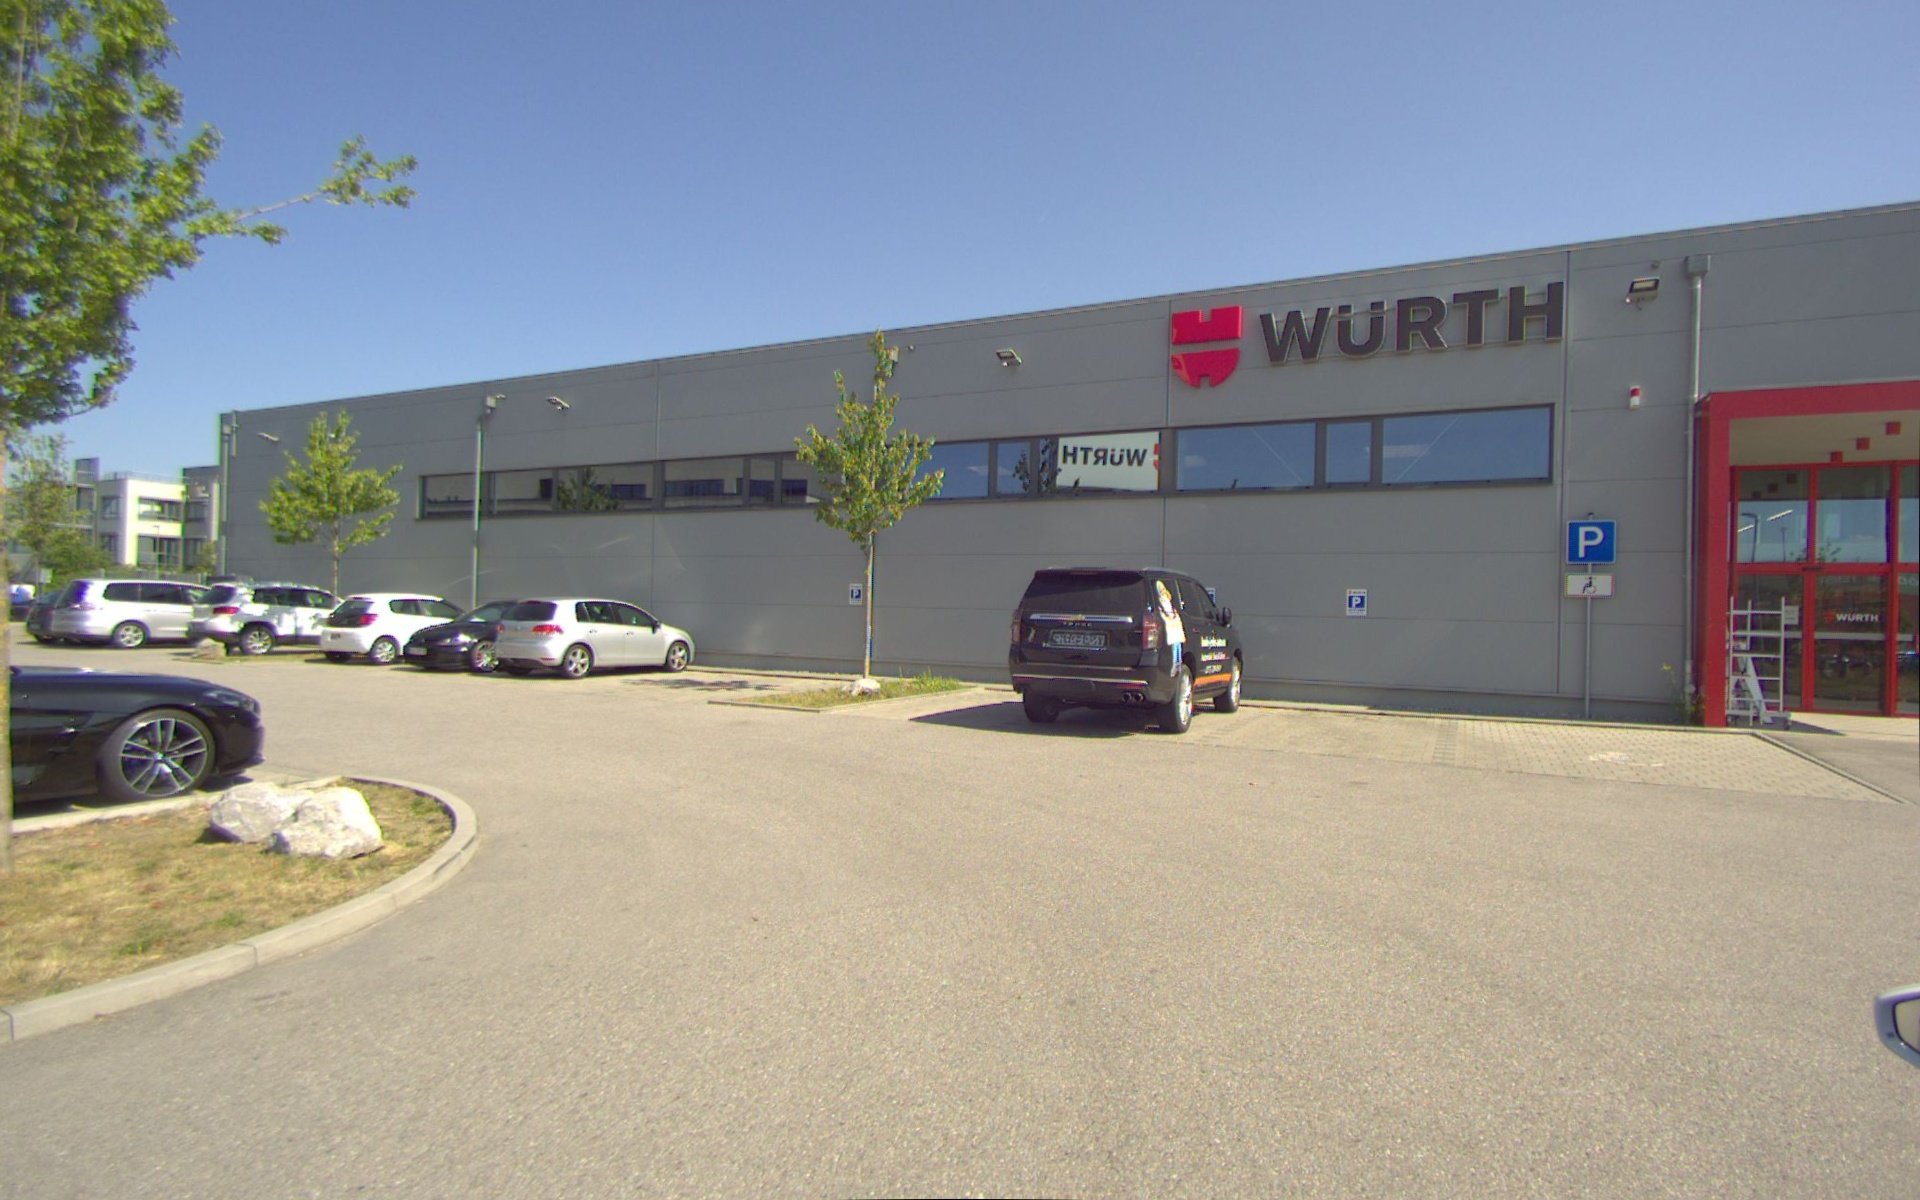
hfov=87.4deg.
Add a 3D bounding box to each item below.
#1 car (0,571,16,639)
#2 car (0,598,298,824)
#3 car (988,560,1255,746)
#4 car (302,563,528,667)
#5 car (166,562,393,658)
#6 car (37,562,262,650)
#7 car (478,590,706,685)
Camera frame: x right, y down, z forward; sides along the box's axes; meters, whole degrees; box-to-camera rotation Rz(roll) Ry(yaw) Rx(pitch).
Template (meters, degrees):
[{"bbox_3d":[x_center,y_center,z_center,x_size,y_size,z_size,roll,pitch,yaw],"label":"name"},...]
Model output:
[{"bbox_3d":[-29.716,0.097,29.835,3.936,1.964,1.788,2,0,37],"label":"car"},{"bbox_3d":[-6.732,0.655,6.133,1.796,1.355,4.150,1,-1,26],"label":"car"},{"bbox_3d":[2.430,0.602,13.467,1.993,1.964,5.375,1,-1,27],"label":"car"},{"bbox_3d":[-11.923,0.317,22.259,1.962,2.040,3.997,2,0,24],"label":"car"},{"bbox_3d":[-16.053,0.235,23.896,1.963,2.040,3.994,2,0,28],"label":"car"},{"bbox_3d":[-20.509,0.158,25.595,1.964,2.040,3.993,2,0,30],"label":"car"},{"bbox_3d":[-6.994,0.677,19.503,1.749,1.638,3.994,1,-1,28],"label":"car"}]
